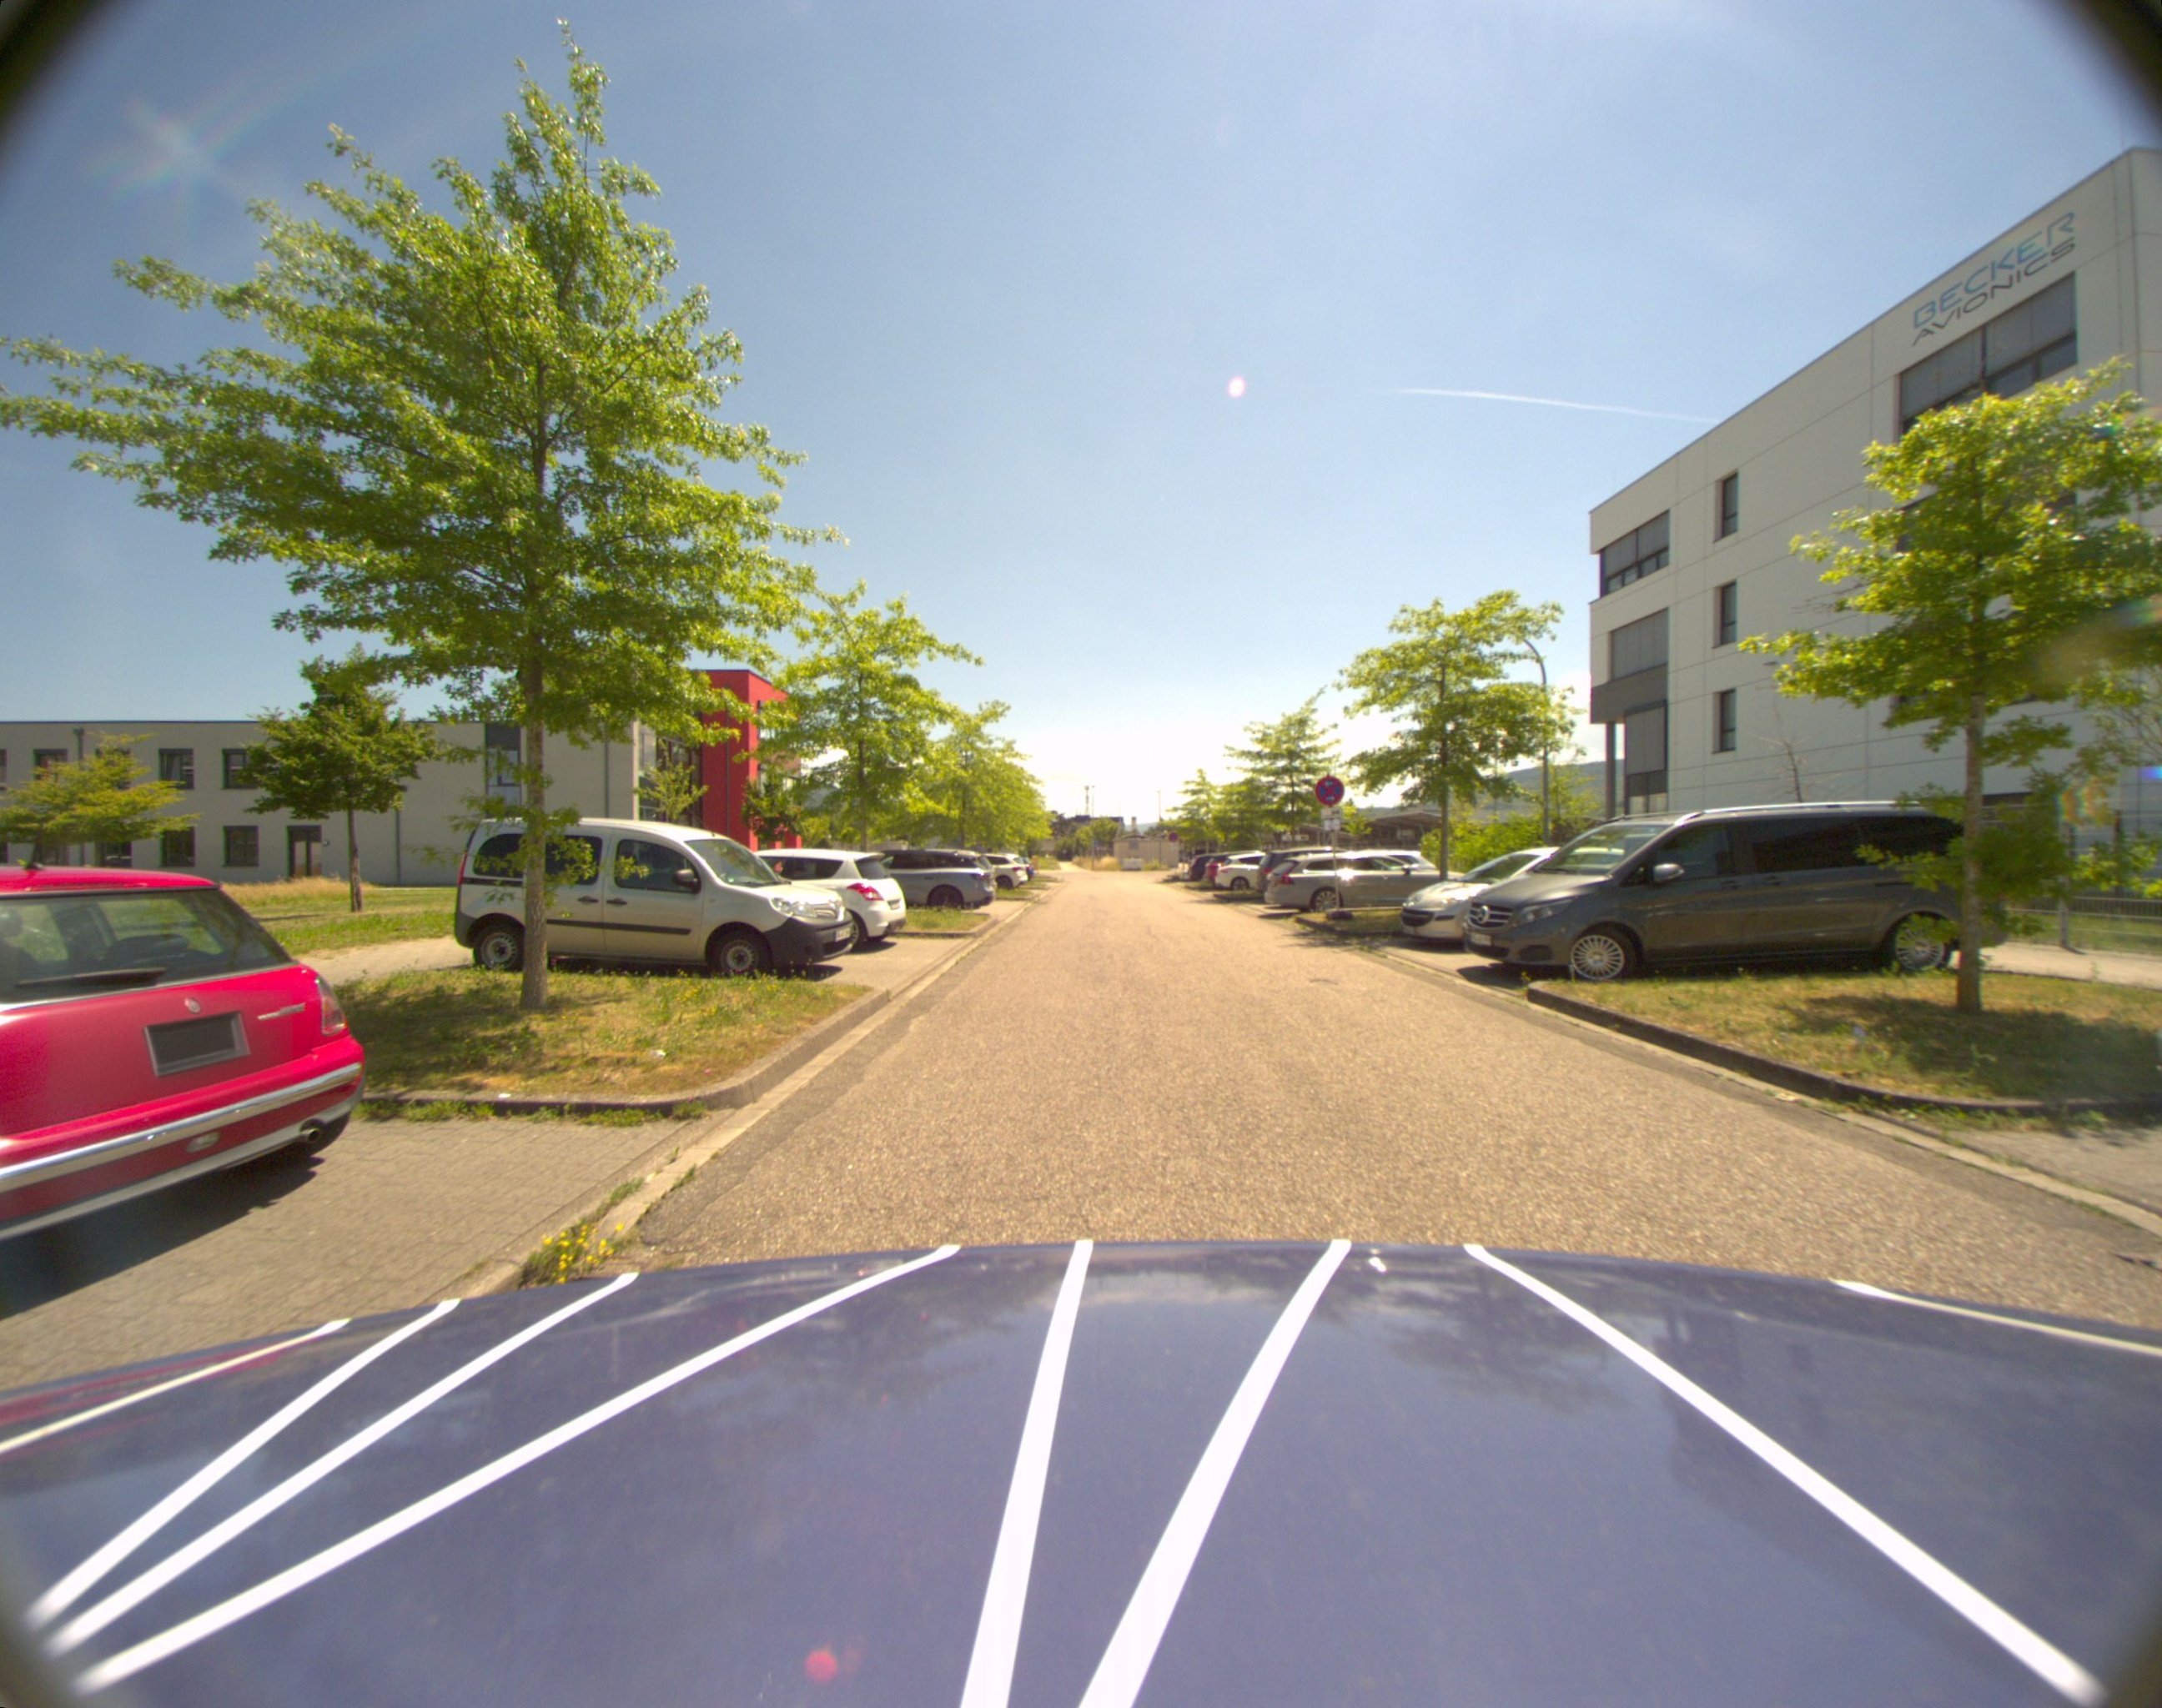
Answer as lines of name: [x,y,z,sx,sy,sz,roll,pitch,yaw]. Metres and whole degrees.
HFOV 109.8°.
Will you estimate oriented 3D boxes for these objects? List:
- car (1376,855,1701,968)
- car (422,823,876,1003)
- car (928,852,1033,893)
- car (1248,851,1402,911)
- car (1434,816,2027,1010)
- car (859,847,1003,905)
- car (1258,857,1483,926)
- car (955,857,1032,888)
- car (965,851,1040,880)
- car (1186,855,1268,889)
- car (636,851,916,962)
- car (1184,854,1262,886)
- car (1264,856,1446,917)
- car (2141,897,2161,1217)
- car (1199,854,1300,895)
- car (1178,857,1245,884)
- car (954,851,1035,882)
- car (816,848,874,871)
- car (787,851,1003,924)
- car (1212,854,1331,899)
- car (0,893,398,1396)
car: [6.974,0.837,11.900,3.978,1.475,1.764,-2,0,1]
car: [-4.934,0.626,9.104,4.413,1.819,1.796,1,1,2]
car: [-3.957,0.726,30.279,3.842,1.544,1.780,1,-1,6]
car: [7.362,0.802,23.241,4.127,1.625,1.728,-2,0,3]
car: [7.121,0.628,8.829,5.082,1.880,1.997,-2,0,2]
car: [-4.546,0.653,23.422,4.056,1.615,1.693,2,0,1]
car: [6.888,0.879,18.448,4.725,1.439,1.857,-2,0,0]
car: [-4.406,0.927,38.667,3.626,1.454,1.611,1,0,3]
car: [-4.478,0.676,43.675,4.004,1.481,1.728,2,0,5]
car: [7.403,0.905,38.765,3.915,1.582,1.728,-2,0,5]
car: [-4.594,0.752,11.808,3.640,1.494,1.676,1,0,2]
car: [7.692,0.879,41.462,3.848,1.584,1.829,-2,0,-2]
car: [7.411,0.854,20.802,4.322,1.464,1.727,-2,0,-1]
car: [6.936,0.849,2.763,4.048,1.452,1.604,-2,0,-2]
car: [7.131,0.867,32.366,3.849,1.582,1.727,-2,0,-1]
car: [7.525,0.954,44.022,3.513,1.432,1.727,-2,0,0]
car: [-4.671,0.688,41.365,4.119,1.640,1.774,0,0,3]
car: [-18.630,0.449,59.998,3.997,1.764,1.811,-1,-2,0]
car: [-4.314,0.765,18.249,4.729,1.552,1.913,2,0,-3]
car: [7.343,0.870,29.581,4.182,1.504,1.808,-2,-1,2]
car: [-4.976,0.891,2.722,3.466,1.408,1.754,1,0,0]
